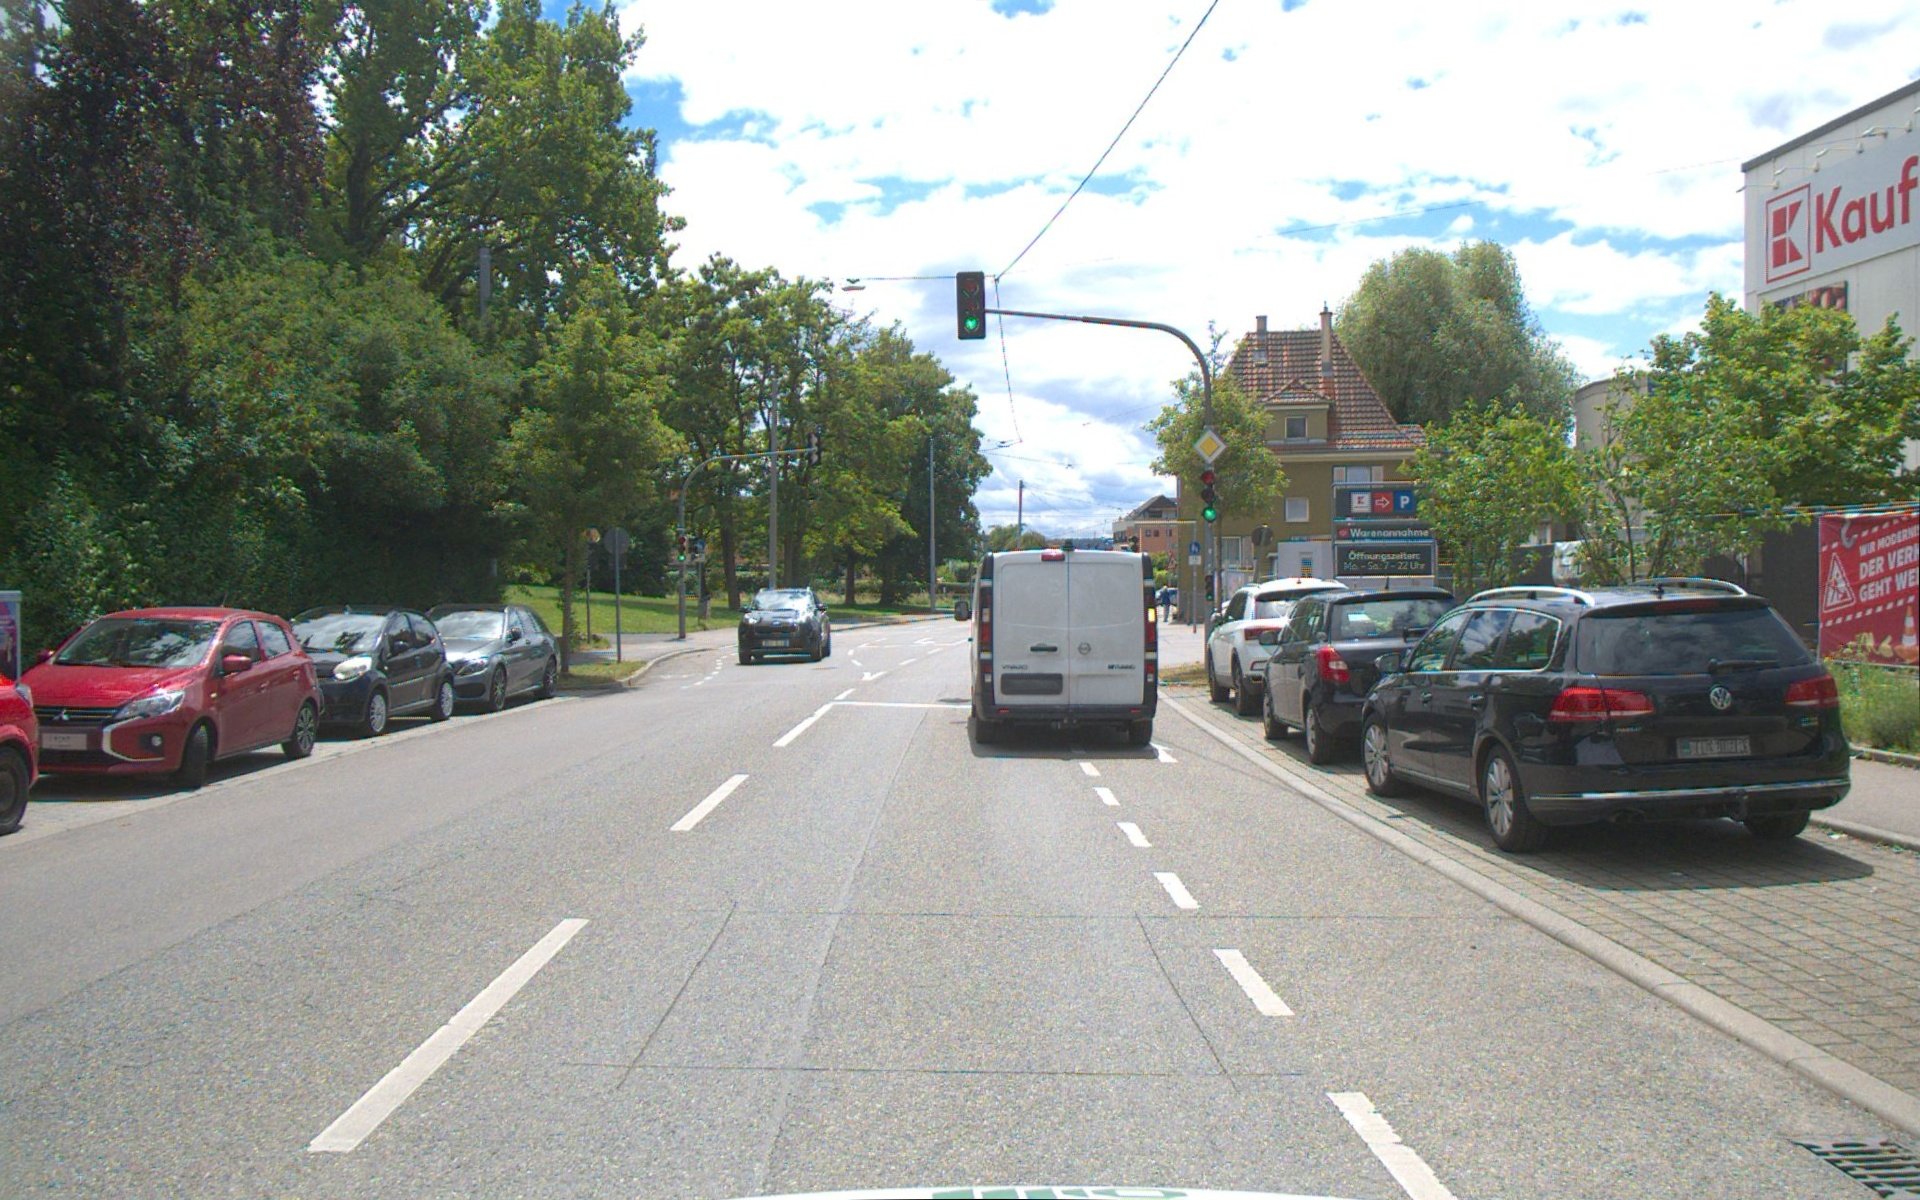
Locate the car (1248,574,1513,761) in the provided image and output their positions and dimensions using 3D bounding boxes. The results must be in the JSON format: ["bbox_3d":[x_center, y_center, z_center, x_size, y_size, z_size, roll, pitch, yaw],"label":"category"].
[{"bbox_3d":[3.884,0.564,15.922,1.536,1.519,4.000,-2,0,1],"label":"car"}]

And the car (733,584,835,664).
[{"bbox_3d":[-3.980,0.511,37.920,1.795,1.645,4.152,-2,0,0],"label":"car"}]

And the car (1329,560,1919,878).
[{"bbox_3d":[3.953,0.602,10.895,1.729,1.502,4.934,-4,0,-2],"label":"car"}]

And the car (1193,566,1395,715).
[{"bbox_3d":[4.218,0.472,21.545,1.701,1.644,4.387,-3,0,1],"label":"car"}]

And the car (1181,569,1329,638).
[{"bbox_3d":[8.257,0.098,46.541,3.903,1.634,1.609,-4,0,5],"label":"car"}]

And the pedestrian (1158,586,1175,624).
[{"bbox_3d":[8.956,0.214,71.788,0.664,1.580,0.836,-2,-2,7],"label":"pedestrian"}]

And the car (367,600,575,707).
[{"bbox_3d":[-7.079,0.715,24.433,1.660,1.389,4.686,1,0,0],"label":"car"}]

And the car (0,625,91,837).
[{"bbox_3d":[-7.269,0.887,9.949,1.626,1.402,4.566,0,0,1],"label":"car"}]

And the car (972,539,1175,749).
[{"bbox_3d":[1.116,0.411,18.409,1.899,1.995,4.833,1,0,0],"label":"car"}]

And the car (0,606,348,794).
[{"bbox_3d":[-7.208,0.806,15.255,1.616,1.476,4.105,0,0,0],"label":"car"}]

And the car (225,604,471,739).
[{"bbox_3d":[-7.315,0.795,20.126,1.562,1.476,3.597,0,0,1],"label":"car"}]
